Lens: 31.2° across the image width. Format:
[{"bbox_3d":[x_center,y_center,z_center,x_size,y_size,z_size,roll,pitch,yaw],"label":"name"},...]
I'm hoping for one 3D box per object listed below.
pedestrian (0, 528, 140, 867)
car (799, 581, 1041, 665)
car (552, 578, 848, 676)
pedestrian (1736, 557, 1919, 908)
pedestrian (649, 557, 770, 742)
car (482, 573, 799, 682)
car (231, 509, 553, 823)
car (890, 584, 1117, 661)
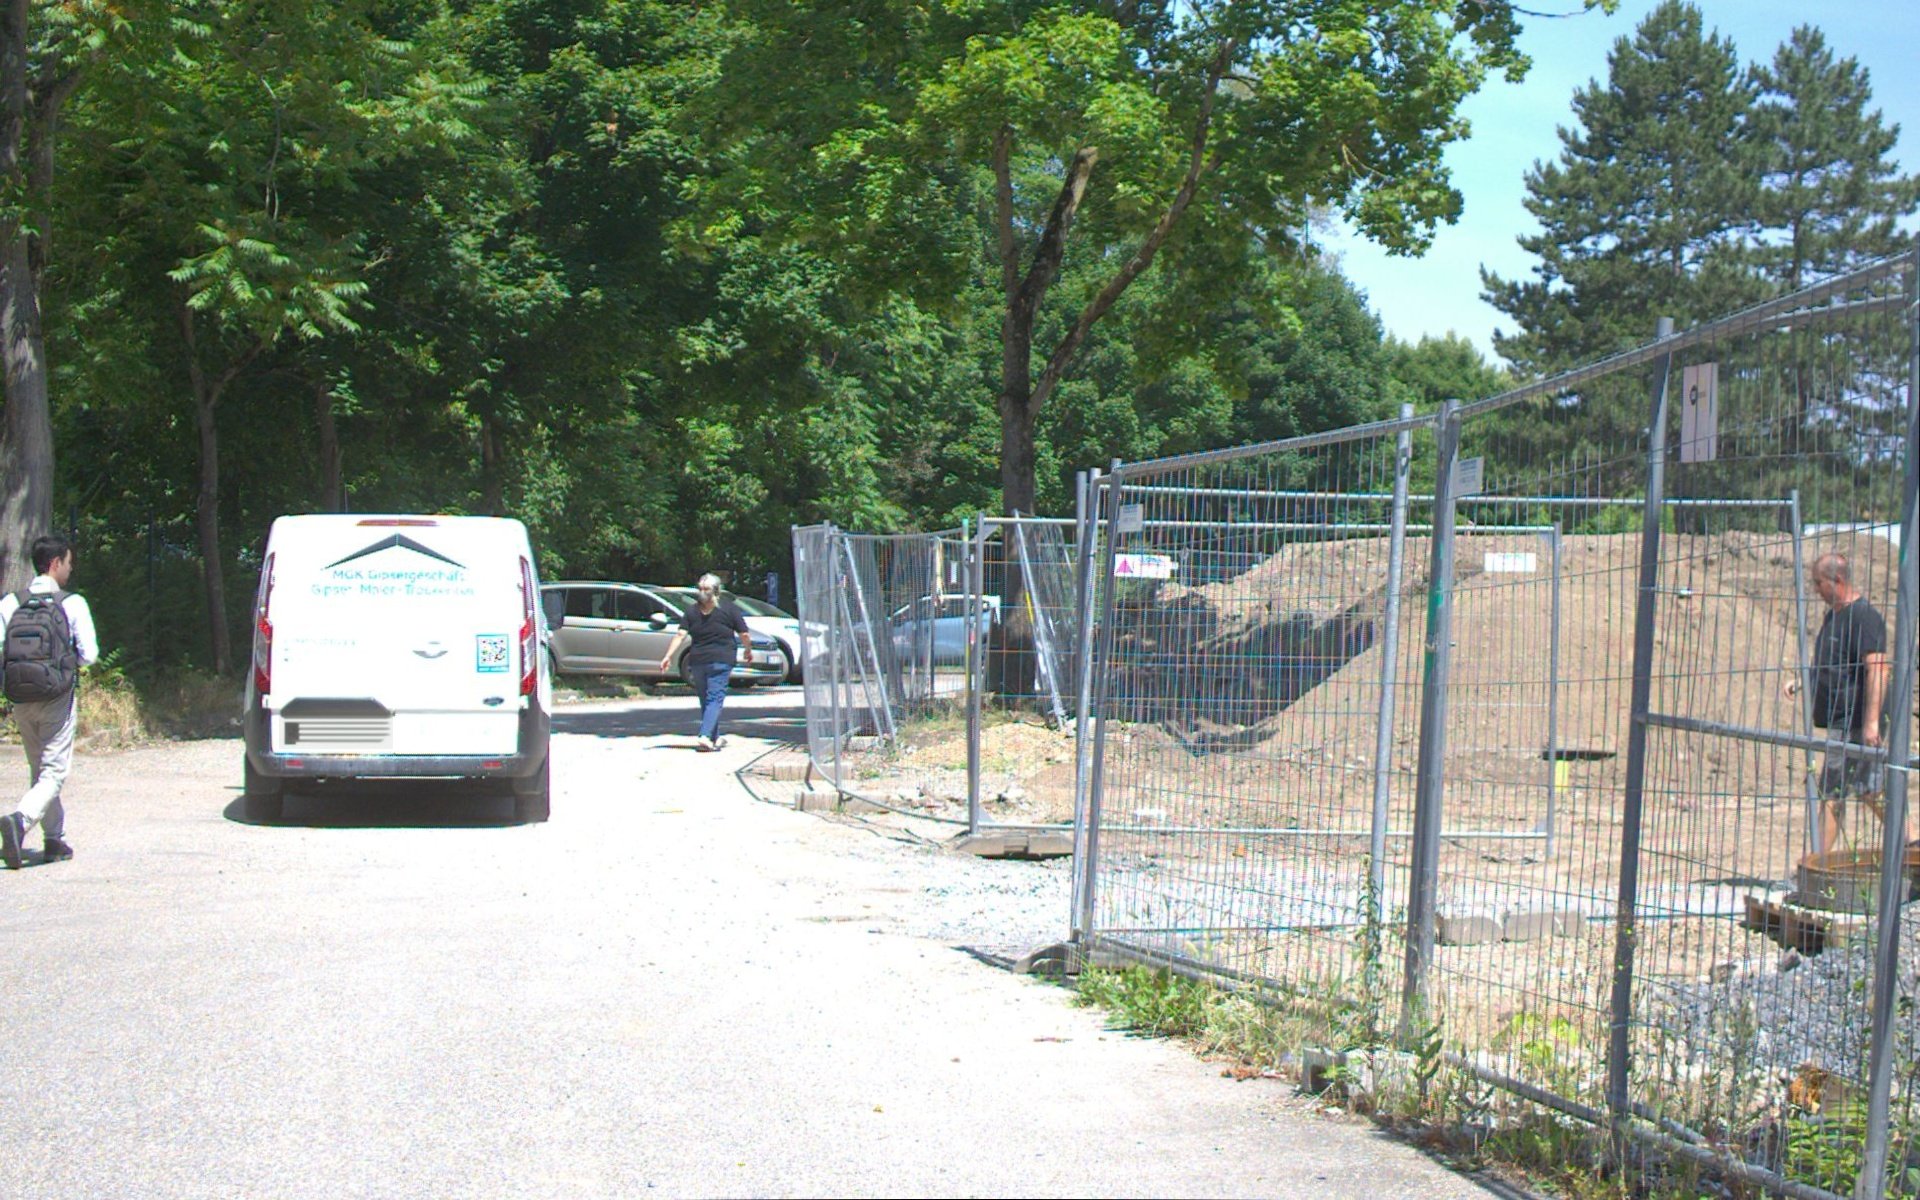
[{"bbox_3d":[-4.934,0.487,18.092,0.874,1.723,1.080,0,1,7],"label":"pedestrian"},{"bbox_3d":[-0.789,0.433,68.443,4.509,1.592,1.724,1,1,16],"label":"car"},{"bbox_3d":[-4.247,0.425,56.337,4.509,1.526,1.724,1,0,16],"label":"car"},{"bbox_3d":[4.712,0.687,18.239,0.964,1.813,0.870,0,0,-2],"label":"pedestrian"},{"bbox_3d":[-2.274,0.438,31.299,1.035,1.644,1.049,0,1,-1],"label":"pedestrian"},{"bbox_3d":[-4.996,0.433,53.917,4.509,1.604,1.998,1,-2,17],"label":"car"},{"bbox_3d":[-3.882,0.402,23.703,1.972,1.940,4.582,0,0,-9],"label":"car"},{"bbox_3d":[0.947,0.468,73.788,4.509,1.592,1.935,1,0,17],"label":"car"}]
